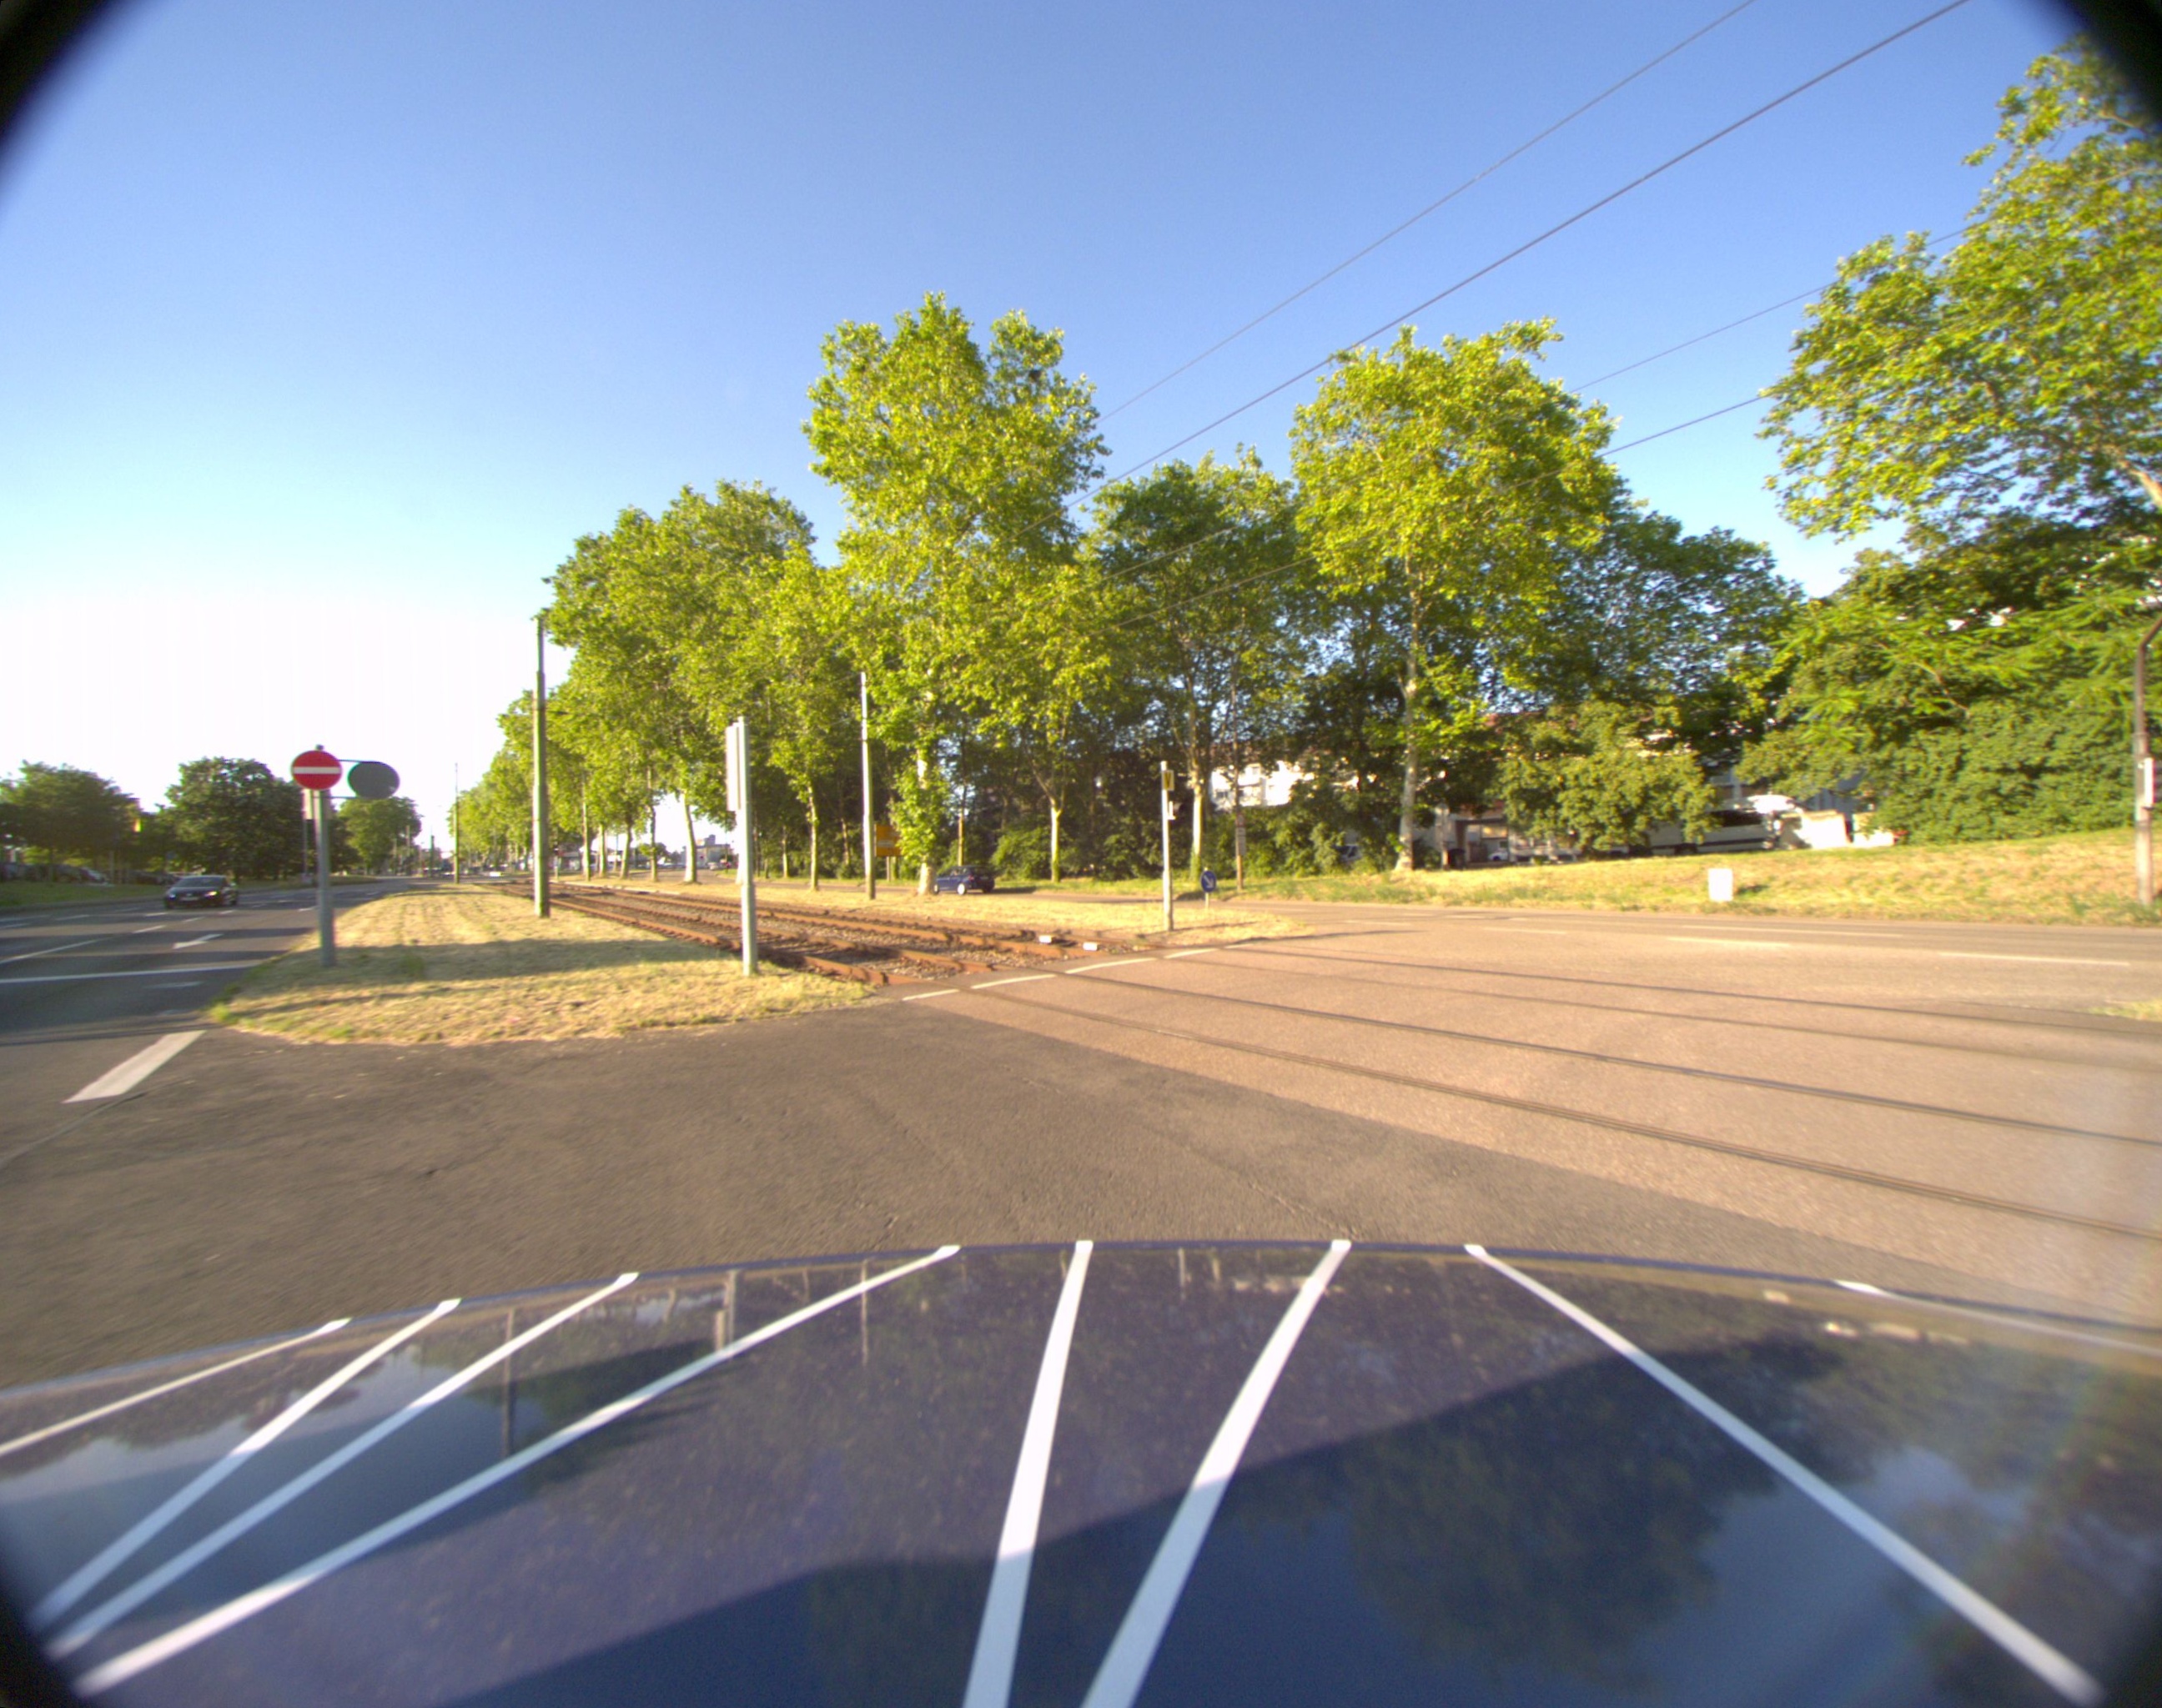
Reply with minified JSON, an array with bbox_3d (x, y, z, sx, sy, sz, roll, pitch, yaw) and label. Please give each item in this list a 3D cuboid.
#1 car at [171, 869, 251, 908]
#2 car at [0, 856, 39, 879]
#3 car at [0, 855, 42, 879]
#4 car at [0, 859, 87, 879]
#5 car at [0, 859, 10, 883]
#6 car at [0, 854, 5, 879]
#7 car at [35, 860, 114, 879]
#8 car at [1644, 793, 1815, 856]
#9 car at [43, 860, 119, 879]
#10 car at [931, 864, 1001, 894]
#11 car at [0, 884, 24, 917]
[{"bbox_3d":[-40.052,1.539,35.076,1.818,1.674,3.989,0,-1,-40],"label":"car"},{"bbox_3d":[-71.611,0.892,49.732,1.755,1.557,3.807,-1,-1,30],"label":"car"},{"bbox_3d":[-69.735,0.849,48.520,1.755,1.557,3.807,-1,-1,30],"label":"car"},{"bbox_3d":[-80.237,1.158,58.785,1.755,1.557,3.807,-1,-1,30],"label":"car"},{"bbox_3d":[-64.890,0.989,43.627,1.755,1.380,3.807,-1,-1,30],"label":"car"},{"bbox_3d":[-67.304,0.756,45.082,1.755,1.557,3.807,-1,-1,30],"label":"car"},{"bbox_3d":[-84.128,1.291,63.560,1.755,1.557,3.807,-1,-1,30],"label":"car"},{"bbox_3d":[29.160,-1.216,34.400,1.810,2.498,5.614,0,-1,-36],"label":"car"},{"bbox_3d":[-86.138,1.350,65.499,1.755,1.557,3.807,-1,-1,30],"label":"car"},{"bbox_3d":[-5.917,1.248,38.859,1.633,1.433,3.974,0,-1,-41],"label":"car"},{"bbox_3d":[-62.822,2.655,42.707,1.755,1.848,3.807,-1,-1,30],"label":"car"}]
